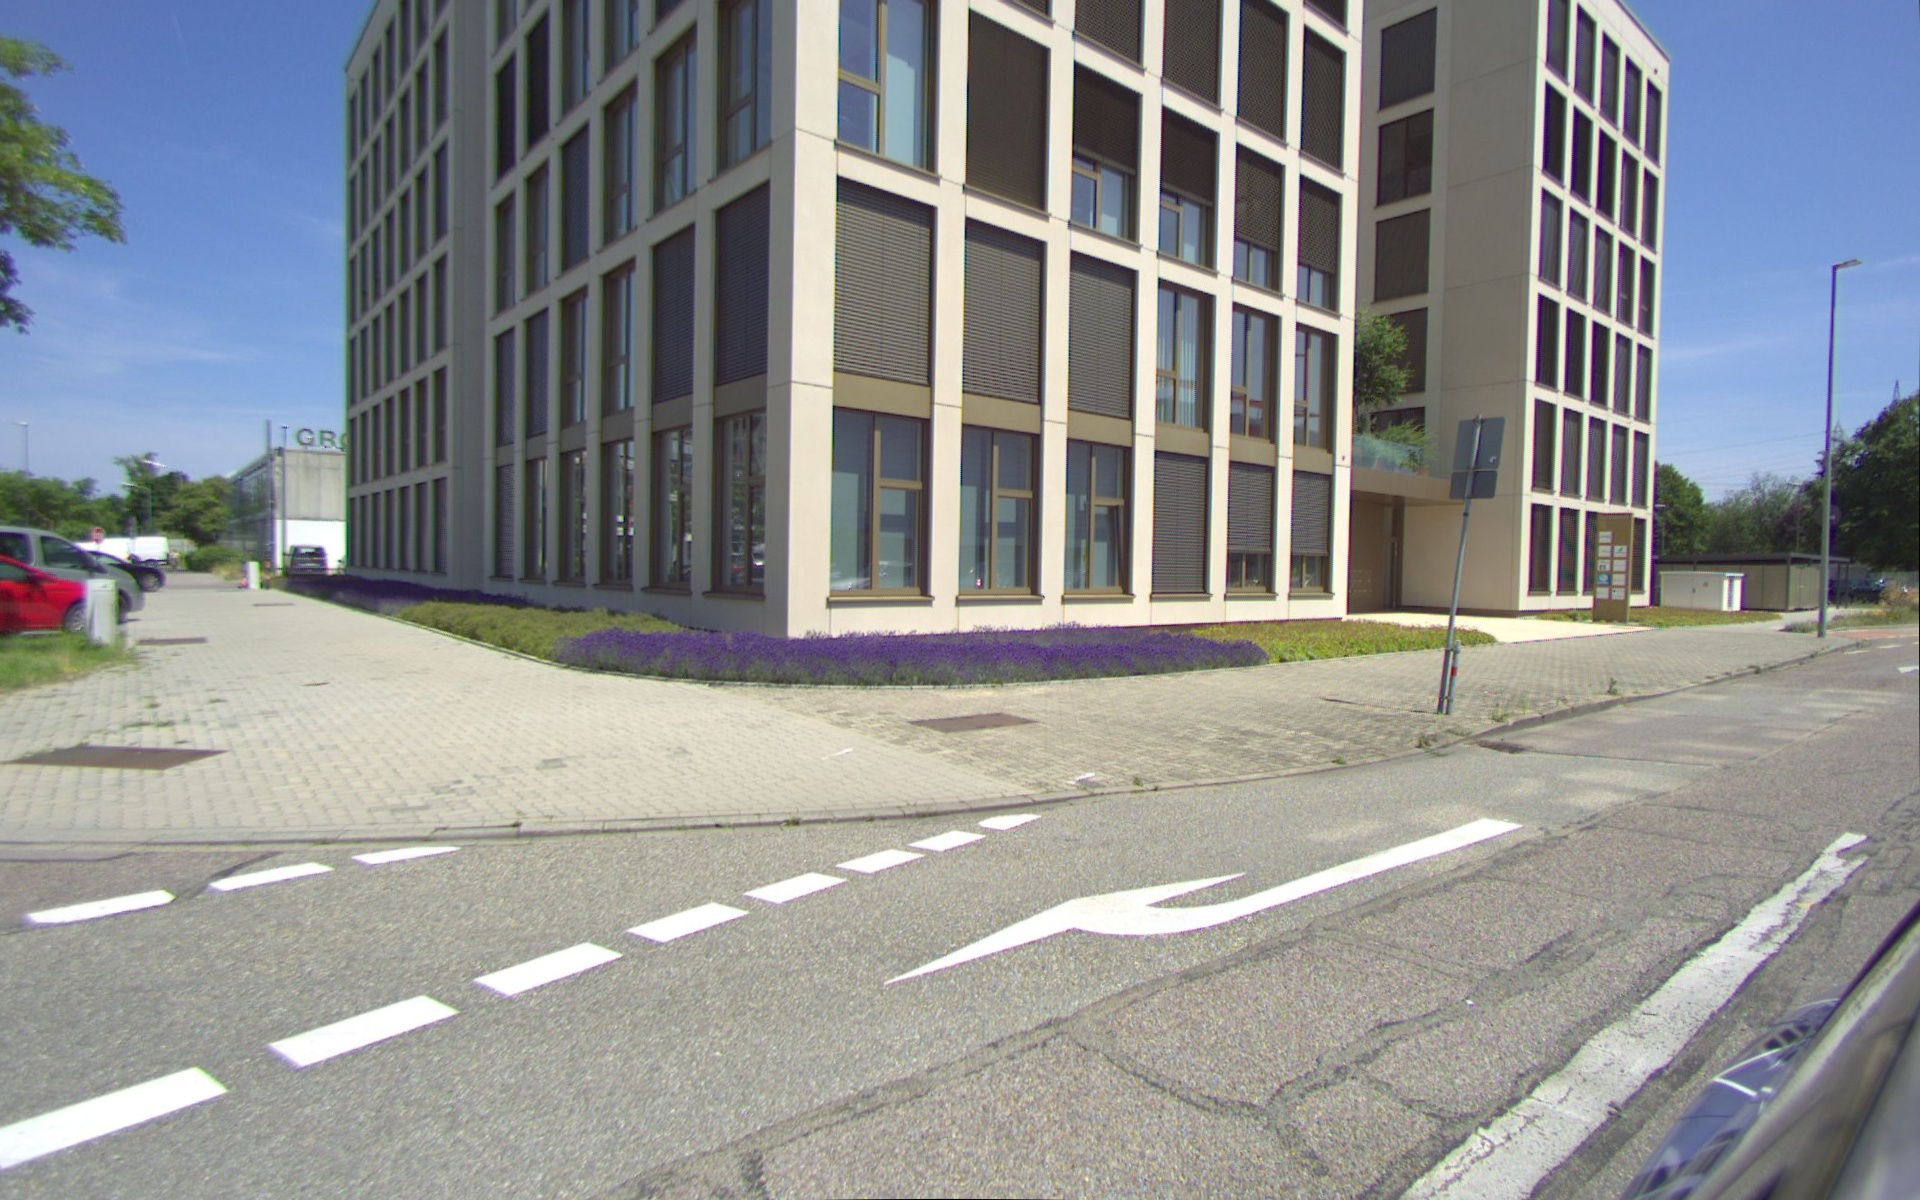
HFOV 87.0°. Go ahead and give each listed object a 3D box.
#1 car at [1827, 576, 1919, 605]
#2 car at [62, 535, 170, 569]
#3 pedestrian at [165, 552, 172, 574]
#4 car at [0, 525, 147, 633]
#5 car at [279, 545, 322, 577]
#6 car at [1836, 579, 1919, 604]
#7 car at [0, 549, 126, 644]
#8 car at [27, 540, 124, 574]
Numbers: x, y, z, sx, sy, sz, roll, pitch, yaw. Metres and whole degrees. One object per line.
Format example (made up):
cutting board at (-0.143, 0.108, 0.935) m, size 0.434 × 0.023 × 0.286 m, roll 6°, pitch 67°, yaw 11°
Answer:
car at (53.648, -0.573, 59.560) m, size 3.810 × 1.571 × 1.716 m, roll 2°, pitch 2°, yaw 36°
car at (-67.753, -3.841, 81.407) m, size 6.573 × 2.552 × 2.217 m, roll -1°, pitch 0°, yaw -38°
pedestrian at (-55.508, -2.605, 70.946) m, size 0.397 × 1.579 × 0.549 m, roll 0°, pitch 2°, yaw -39°
car at (-17.894, -0.403, 18.474) m, size 1.886 × 1.910 × 4.927 m, roll 1°, pitch 1°, yaw 5°
car at (-38.114, -2.232, 58.471) m, size 1.763 × 1.749 × 3.997 m, roll 0°, pitch 0°, yaw -38°
car at (55.232, -0.518, 60.774) m, size 3.810 × 1.411 × 1.716 m, roll 2°, pitch 2°, yaw 36°
car at (-15.486, -0.063, 15.569) m, size 1.672 × 1.449 × 3.990 m, roll 1°, pitch 3°, yaw 10°
car at (-55.161, -2.643, 63.222) m, size 4.495 × 2.039 × 1.997 m, roll -1°, pitch 0°, yaw -40°
